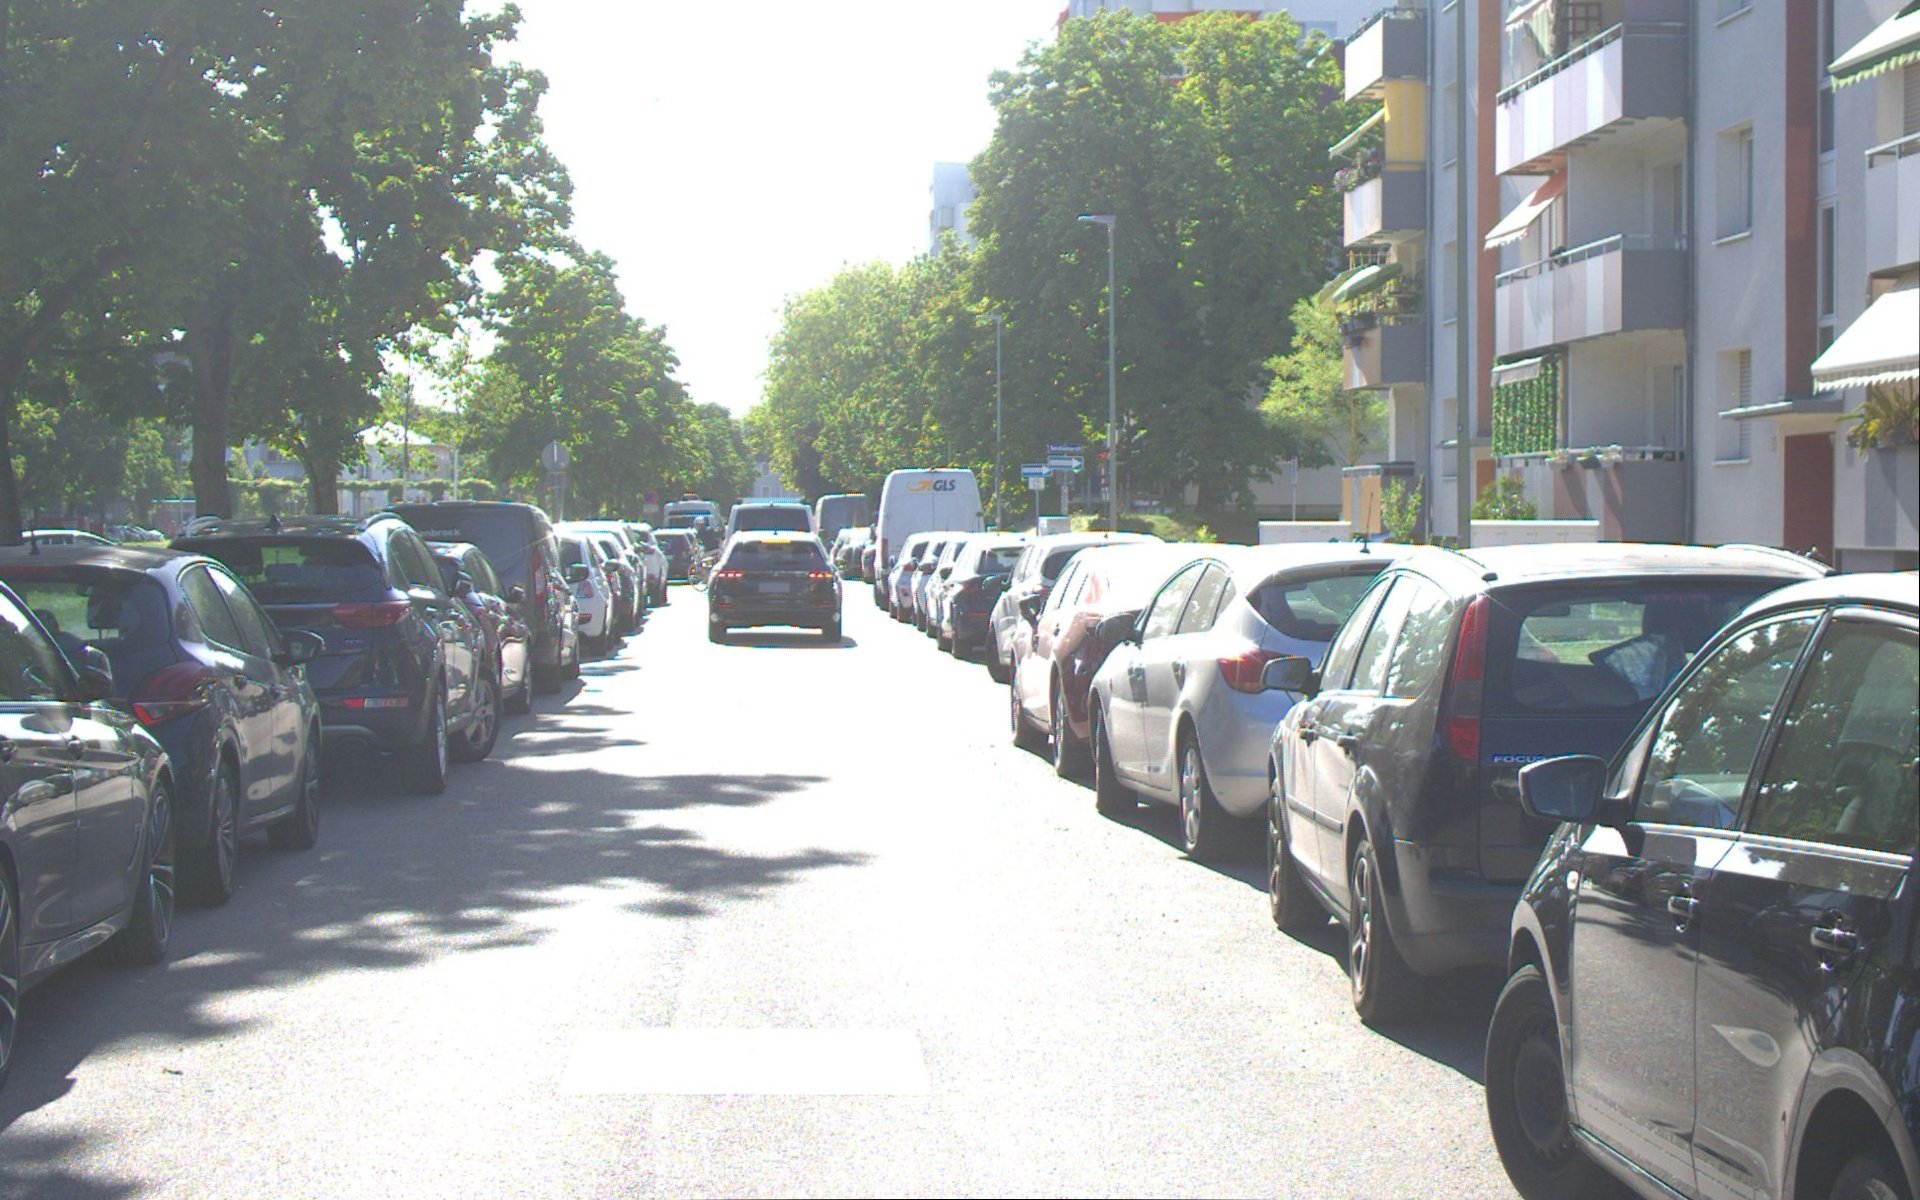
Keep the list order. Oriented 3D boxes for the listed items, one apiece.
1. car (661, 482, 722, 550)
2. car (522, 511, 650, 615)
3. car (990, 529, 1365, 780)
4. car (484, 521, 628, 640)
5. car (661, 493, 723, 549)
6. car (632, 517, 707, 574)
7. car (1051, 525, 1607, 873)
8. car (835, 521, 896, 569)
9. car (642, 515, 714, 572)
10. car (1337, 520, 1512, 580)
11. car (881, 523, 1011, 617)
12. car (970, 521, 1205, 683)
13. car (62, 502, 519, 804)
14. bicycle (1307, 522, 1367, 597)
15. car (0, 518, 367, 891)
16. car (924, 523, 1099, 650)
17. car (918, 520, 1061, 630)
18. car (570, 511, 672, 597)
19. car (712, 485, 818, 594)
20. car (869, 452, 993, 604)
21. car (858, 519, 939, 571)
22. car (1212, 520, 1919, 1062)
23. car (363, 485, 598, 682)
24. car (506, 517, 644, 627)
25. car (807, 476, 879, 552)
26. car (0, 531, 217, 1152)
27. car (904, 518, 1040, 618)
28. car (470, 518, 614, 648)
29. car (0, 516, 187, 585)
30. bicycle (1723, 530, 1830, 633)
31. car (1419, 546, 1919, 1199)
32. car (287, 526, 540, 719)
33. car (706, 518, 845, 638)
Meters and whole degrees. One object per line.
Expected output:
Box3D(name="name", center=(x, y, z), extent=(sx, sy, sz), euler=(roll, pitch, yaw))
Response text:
Box3D(name="car", center=(-10.049, -3.152, 128.712), extent=(2.098, 2.487, 4.127), euler=(0, 1, -2))
Box3D(name="car", center=(-6.162, -0.649, 57.052), extent=(1.819, 1.604, 4.740), euler=(-2, 1, -3))
Box3D(name="car", center=(1.318, 0.273, 22.979), extent=(1.843, 1.467, 5.066), euler=(0, 1, -4))
Box3D(name="car", center=(-5.457, -0.312, 46.877), extent=(1.755, 1.487, 4.669), euler=(-2, 2, -5))
Box3D(name="car", center=(-9.521, -2.814, 122.323), extent=(2.098, 1.936, 4.127), euler=(0, 1, -3))
Box3D(name="car", center=(-7.719, -1.450, 91.676), extent=(1.748, 1.420, 3.917), euler=(-2, 1, -2))
Box3D(name="car", center=(1.716, 0.392, 17.606), extent=(1.873, 1.528, 4.494), euler=(0, 1, -7))
Box3D(name="car", center=(-2.809, -1.642, 101.610), extent=(1.779, 1.366, 4.127), euler=(0, 1, -2))
Box3D(name="car", center=(-7.864, -1.574, 96.194), extent=(1.777, 1.490, 3.875), euler=(-2, 1, -2))
Box3D(name="car", center=(11.140, -1.215, 82.562), extent=(3.886, 1.424, 1.659), euler=(0, 1, -6))
Box3D(name="car", center=(-0.276, -0.537, 57.946), extent=(1.848, 1.461, 4.203), euler=(1, 2, -5))
Box3D(name="car", center=(1.194, -0.028, 33.915), extent=(1.747, 1.494, 3.862), euler=(-1, 1, -6))
Box3D(name="car", center=(-3.988, 0.231, 21.312), extent=(2.025, 1.620, 4.758), euler=(-1, 1, -2))
Box3D(name="bicycle", center=(6.046, -0.641, 55.210), extent=(0.595, 1.172, 2.014), euler=(0, 0, -4))
Box3D(name="car", center=(-3.791, 0.384, 15.018), extent=(1.880, 1.414, 3.804), euler=(-1, 1, -2))
Box3D(name="car", center=(0.584, -0.206, 42.476), extent=(1.699, 1.430, 4.472), euler=(-2, 1, -5))
Box3D(name="car", center=(0.369, -0.382, 47.902), extent=(1.721, 1.430, 4.153), euler=(0, 1, -3))
Box3D(name="car", center=(-6.828, -0.962, 69.640), extent=(1.756, 1.641, 4.288), euler=(-2, 1, -2))
Box3D(name="car", center=(-3.707, -1.179, 66.004), extent=(1.894, 1.984, 4.011), euler=(-2, 1, -2))
Box3D(name="car", center=(-0.620, -1.398, 65.893), extent=(2.142, 2.703, 6.842), euler=(-2, 1, -2))
Box3D(name="car", center=(-1.732, -1.549, 95.699), extent=(2.125, 1.333, 4.506), euler=(-2, 2, -2))
Box3D(name="car", center=(2.014, 0.492, 12.029), extent=(1.769, 1.524, 4.558), euler=(0, 1, -2))
Box3D(name="car", center=(-4.602, -0.188, 33.640), extent=(1.864, 1.778, 4.992), euler=(0, 1, -3))
Box3D(name="car", center=(-5.780, -0.459, 52.036), extent=(1.873, 1.514, 4.471), euler=(-2, 2, -4))
Box3D(name="car", center=(-4.215, -3.077, 123.089), extent=(2.162, 2.680, 5.418), euler=(0, 1, -6))
Box3D(name="car", center=(-3.601, 0.581, 10.519), extent=(1.993, 1.511, 5.159), euler=(-1, 2, -6))
Box3D(name="car", center=(0.142, -0.528, 53.273), extent=(1.877, 1.470, 4.141), euler=(0, 1, -3))
Box3D(name="car", center=(-5.120, -0.241, 42.443), extent=(1.586, 1.487, 3.686), euler=(-2, 2, -5))
Box3D(name="car", center=(-19.271, -1.082, 74.997), extent=(4.333, 1.404, 1.921), euler=(-1, 3, -27))
Box3D(name="bicycle", center=(8.936, -0.217, 37.695), extent=(0.523, 1.067, 2.010), euler=(-2, 2, -4))
Box3D(name="car", center=(2.078, 0.671, 6.578), extent=(1.658, 1.469, 3.793), euler=(2, 1, -3))
Box3D(name="car", center=(-4.307, 0.124, 27.572), extent=(1.538, 1.423, 4.088), euler=(0, 1, -2))
Box3D(name="car", center=(-2.477, -0.330, 46.900), extent=(1.779, 1.526, 4.001), euler=(1, 1, -2))
